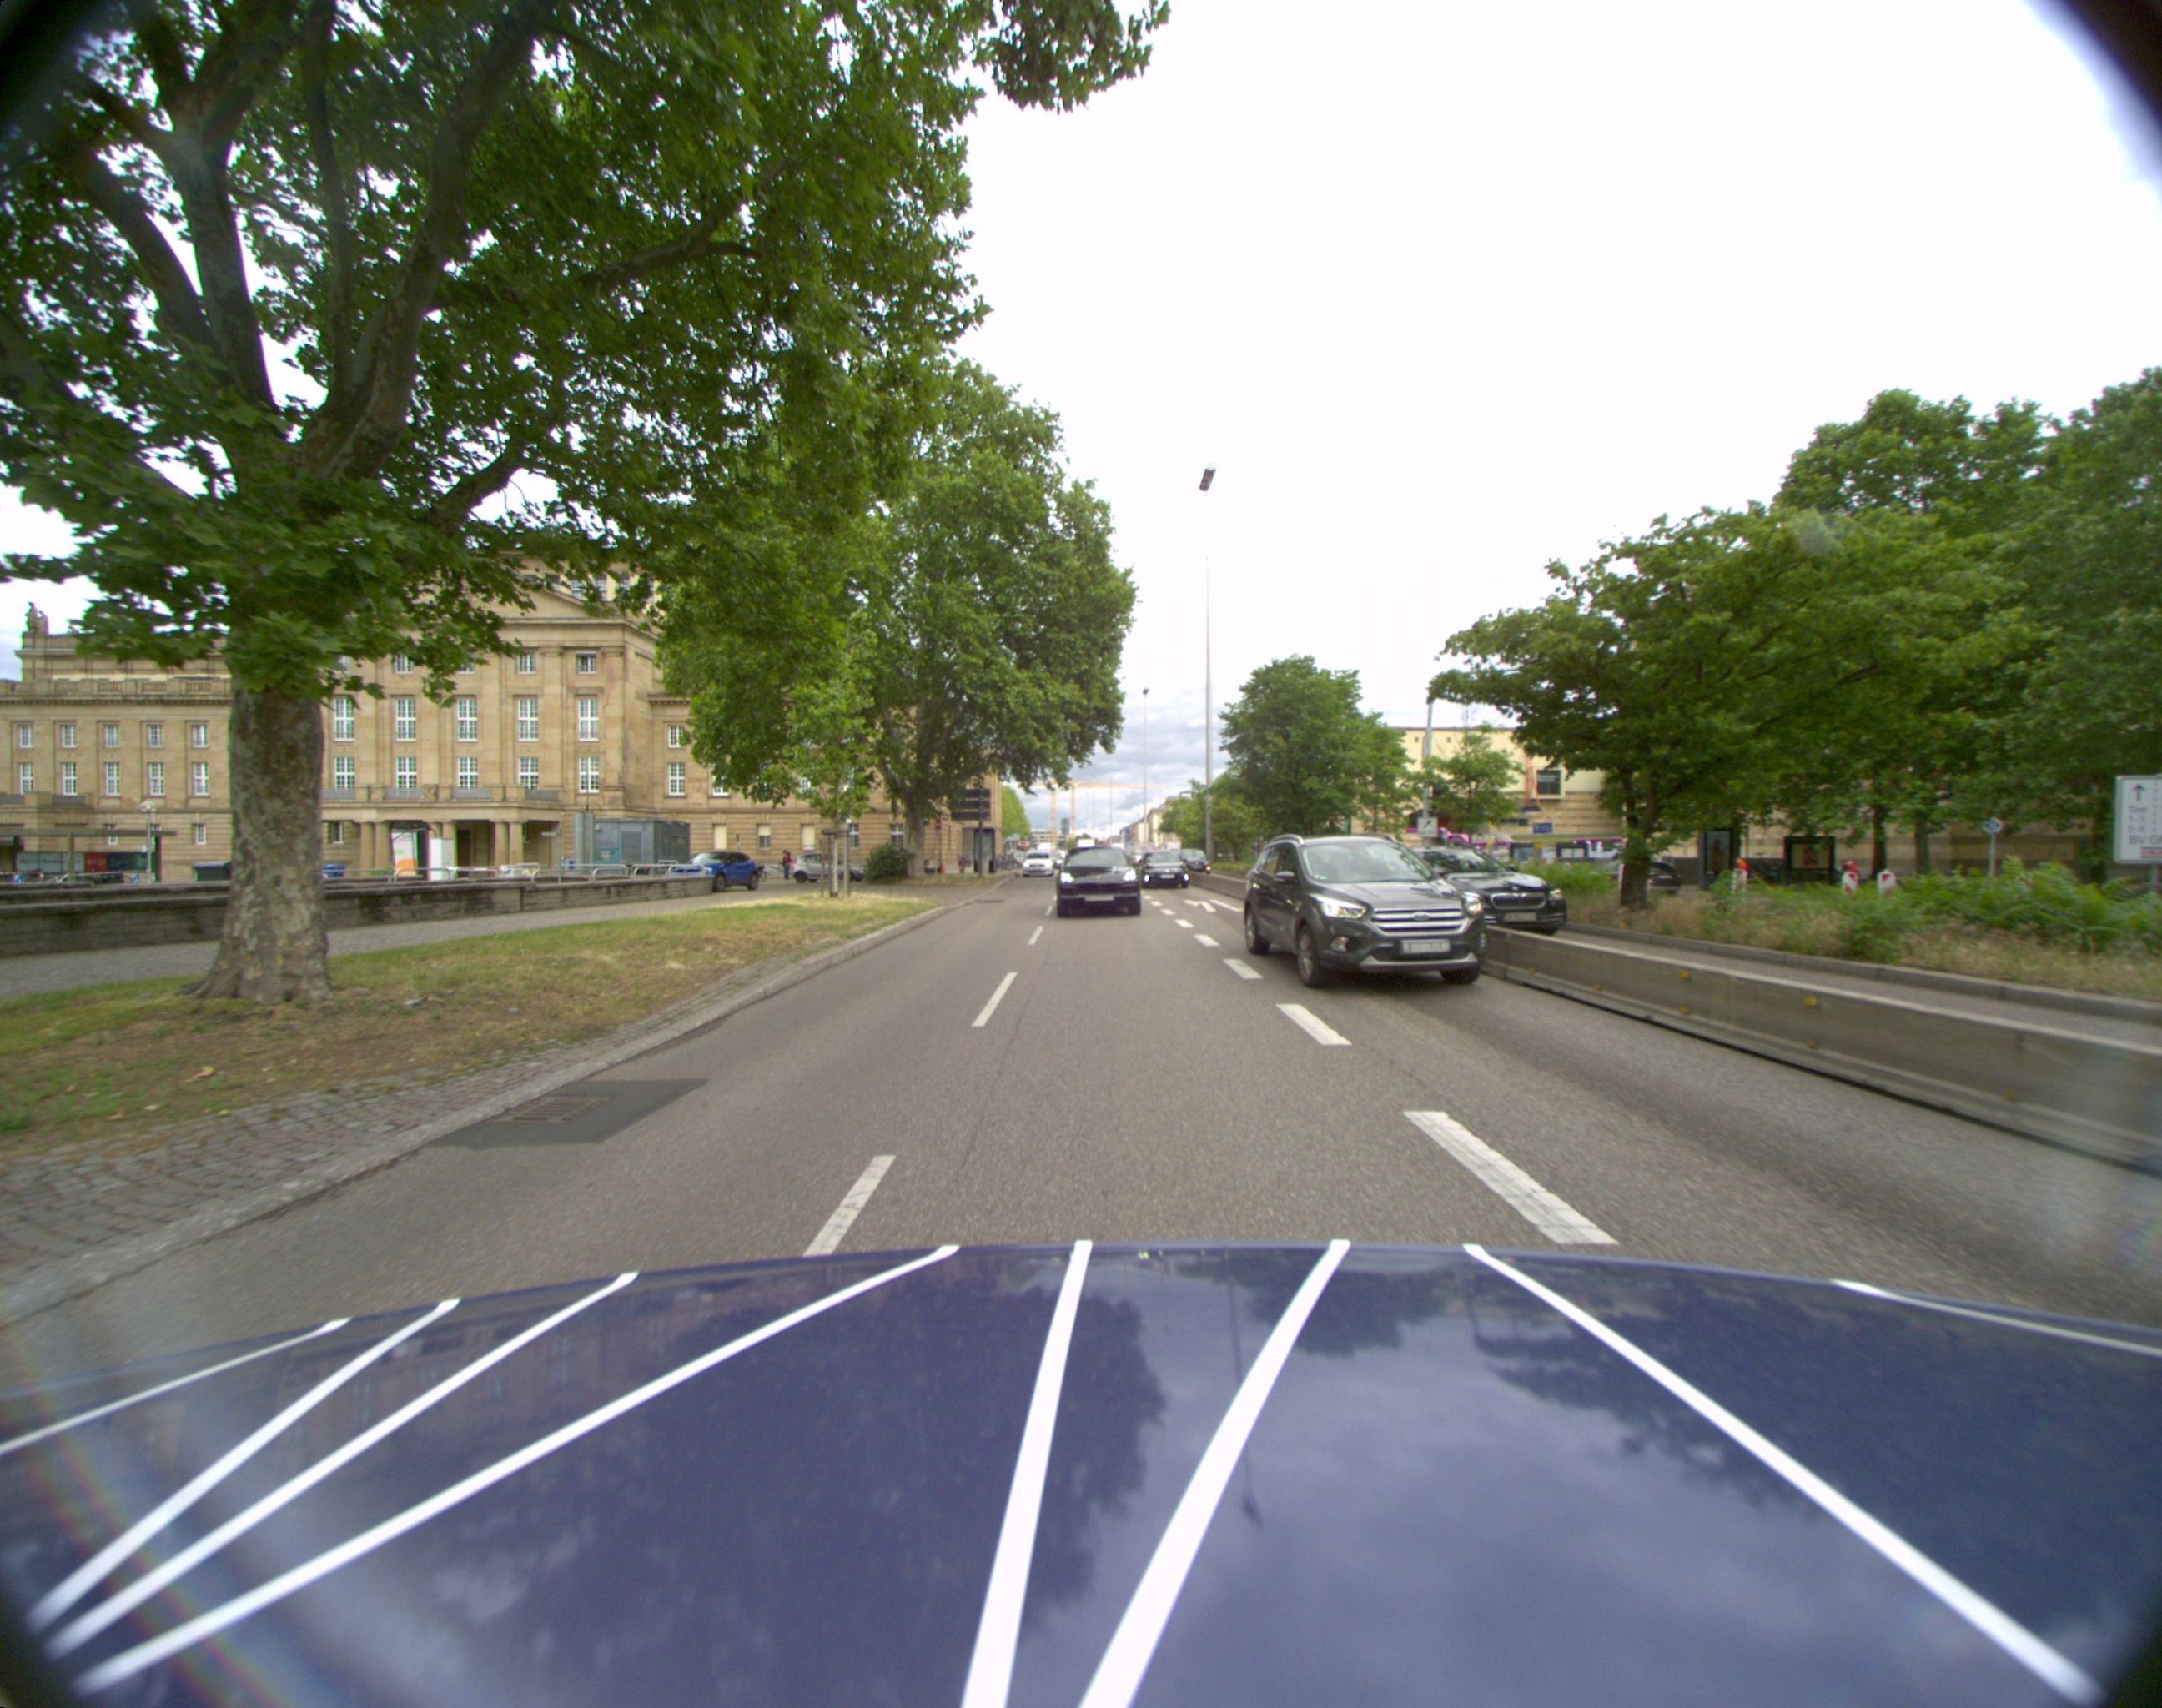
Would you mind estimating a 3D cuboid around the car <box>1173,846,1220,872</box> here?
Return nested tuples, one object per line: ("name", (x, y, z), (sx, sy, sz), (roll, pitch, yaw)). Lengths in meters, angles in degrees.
("car", (6.691, 0.268, 44.598), (1.999, 1.474, 4.808), (0, 0, 0))

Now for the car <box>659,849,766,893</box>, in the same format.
("car", (-13.554, 0.628, 28.252), (1.768, 1.508, 4.219), (0, -1, 3))

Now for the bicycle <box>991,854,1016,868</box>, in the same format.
("bicycle", (-6.082, 0.571, 59.732), (1.918, 1.092, 0.541), (-1, 1, -7))

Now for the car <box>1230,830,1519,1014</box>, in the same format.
("car", (3.252, 0.647, 9.558), (1.898, 1.705, 4.658), (-1, 0, 1))

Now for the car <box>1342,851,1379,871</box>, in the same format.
("car", (20.805, 0.494, 56.619), (1.355, 1.281, 3.736), (-3, 1, 0))

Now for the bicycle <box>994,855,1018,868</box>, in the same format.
("bicycle", (-5.962, 0.588, 60.409), (1.841, 1.066, 0.618), (-1, 1, -7))

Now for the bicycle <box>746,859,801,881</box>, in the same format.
("bicycle", (-18.015, 0.929, 44.619), (2.846, 1.178, 1.096), (-1, 1, -16))

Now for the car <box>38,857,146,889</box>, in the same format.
("car", (-61.417, 1.184, 47.243), (3.997, 1.707, 2.000), (-3, 1, 1))

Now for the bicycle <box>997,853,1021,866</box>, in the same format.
("bicycle", (-6.055, 0.457, 63.793), (1.939, 1.126, 0.540), (-1, 1, -19))

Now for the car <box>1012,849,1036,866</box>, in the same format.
("car", (-5.455, 0.289, 73.469), (1.843, 1.522, 4.000), (0, 1, 3))

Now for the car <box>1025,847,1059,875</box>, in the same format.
("car", (-2.398, 0.420, 47.143), (1.695, 1.585, 4.000), (-1, 1, 3))

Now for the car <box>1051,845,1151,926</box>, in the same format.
("car", (0.349, 0.646, 18.636), (2.062, 1.616, 4.599), (-3, 1, -2))

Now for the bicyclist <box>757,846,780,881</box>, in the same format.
("bicyclist", (-18.301, 0.526, 44.534), (1.104, 2.002, 1.011), (-1, 0, -15))

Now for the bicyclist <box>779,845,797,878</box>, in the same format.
("bicyclist", (-18.120, 0.470, 46.965), (0.879, 2.002, 0.842), (-3, 2, -25))

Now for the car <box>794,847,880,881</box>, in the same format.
("car", (-13.040, 0.536, 40.792), (3.997, 1.587, 1.734), (-3, 1, 0))

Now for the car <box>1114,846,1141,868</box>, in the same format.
("car", (3.785, 0.215, 62.909), (1.998, 1.607, 4.737), (-1, 1, 1))

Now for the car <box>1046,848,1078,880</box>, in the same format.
("car", (-1.000, 0.502, 40.836), (1.582, 1.600, 3.578), (0, 1, 1))

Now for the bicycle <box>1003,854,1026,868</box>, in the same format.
("bicycle", (-5.386, 0.556, 61.367), (1.841, 1.066, 0.532), (-1, 1, -8))

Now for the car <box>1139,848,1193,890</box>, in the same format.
("car", (3.394, 0.548, 30.970), (1.767, 1.507, 4.152), (-2, 1, 1))

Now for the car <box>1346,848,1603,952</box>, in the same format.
("car", (6.486, 0.640, 13.297), (1.999, 1.474, 4.808), (0, 0, 0))

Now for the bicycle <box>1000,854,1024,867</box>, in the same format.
("bicycle", (-5.657, 0.540, 62.313), (1.842, 1.066, 0.531), (-1, 1, -19))

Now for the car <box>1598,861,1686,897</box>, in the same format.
("car", (22.996, 0.997, 31.271), (1.355, 1.281, 3.055), (-3, 1, 0))
